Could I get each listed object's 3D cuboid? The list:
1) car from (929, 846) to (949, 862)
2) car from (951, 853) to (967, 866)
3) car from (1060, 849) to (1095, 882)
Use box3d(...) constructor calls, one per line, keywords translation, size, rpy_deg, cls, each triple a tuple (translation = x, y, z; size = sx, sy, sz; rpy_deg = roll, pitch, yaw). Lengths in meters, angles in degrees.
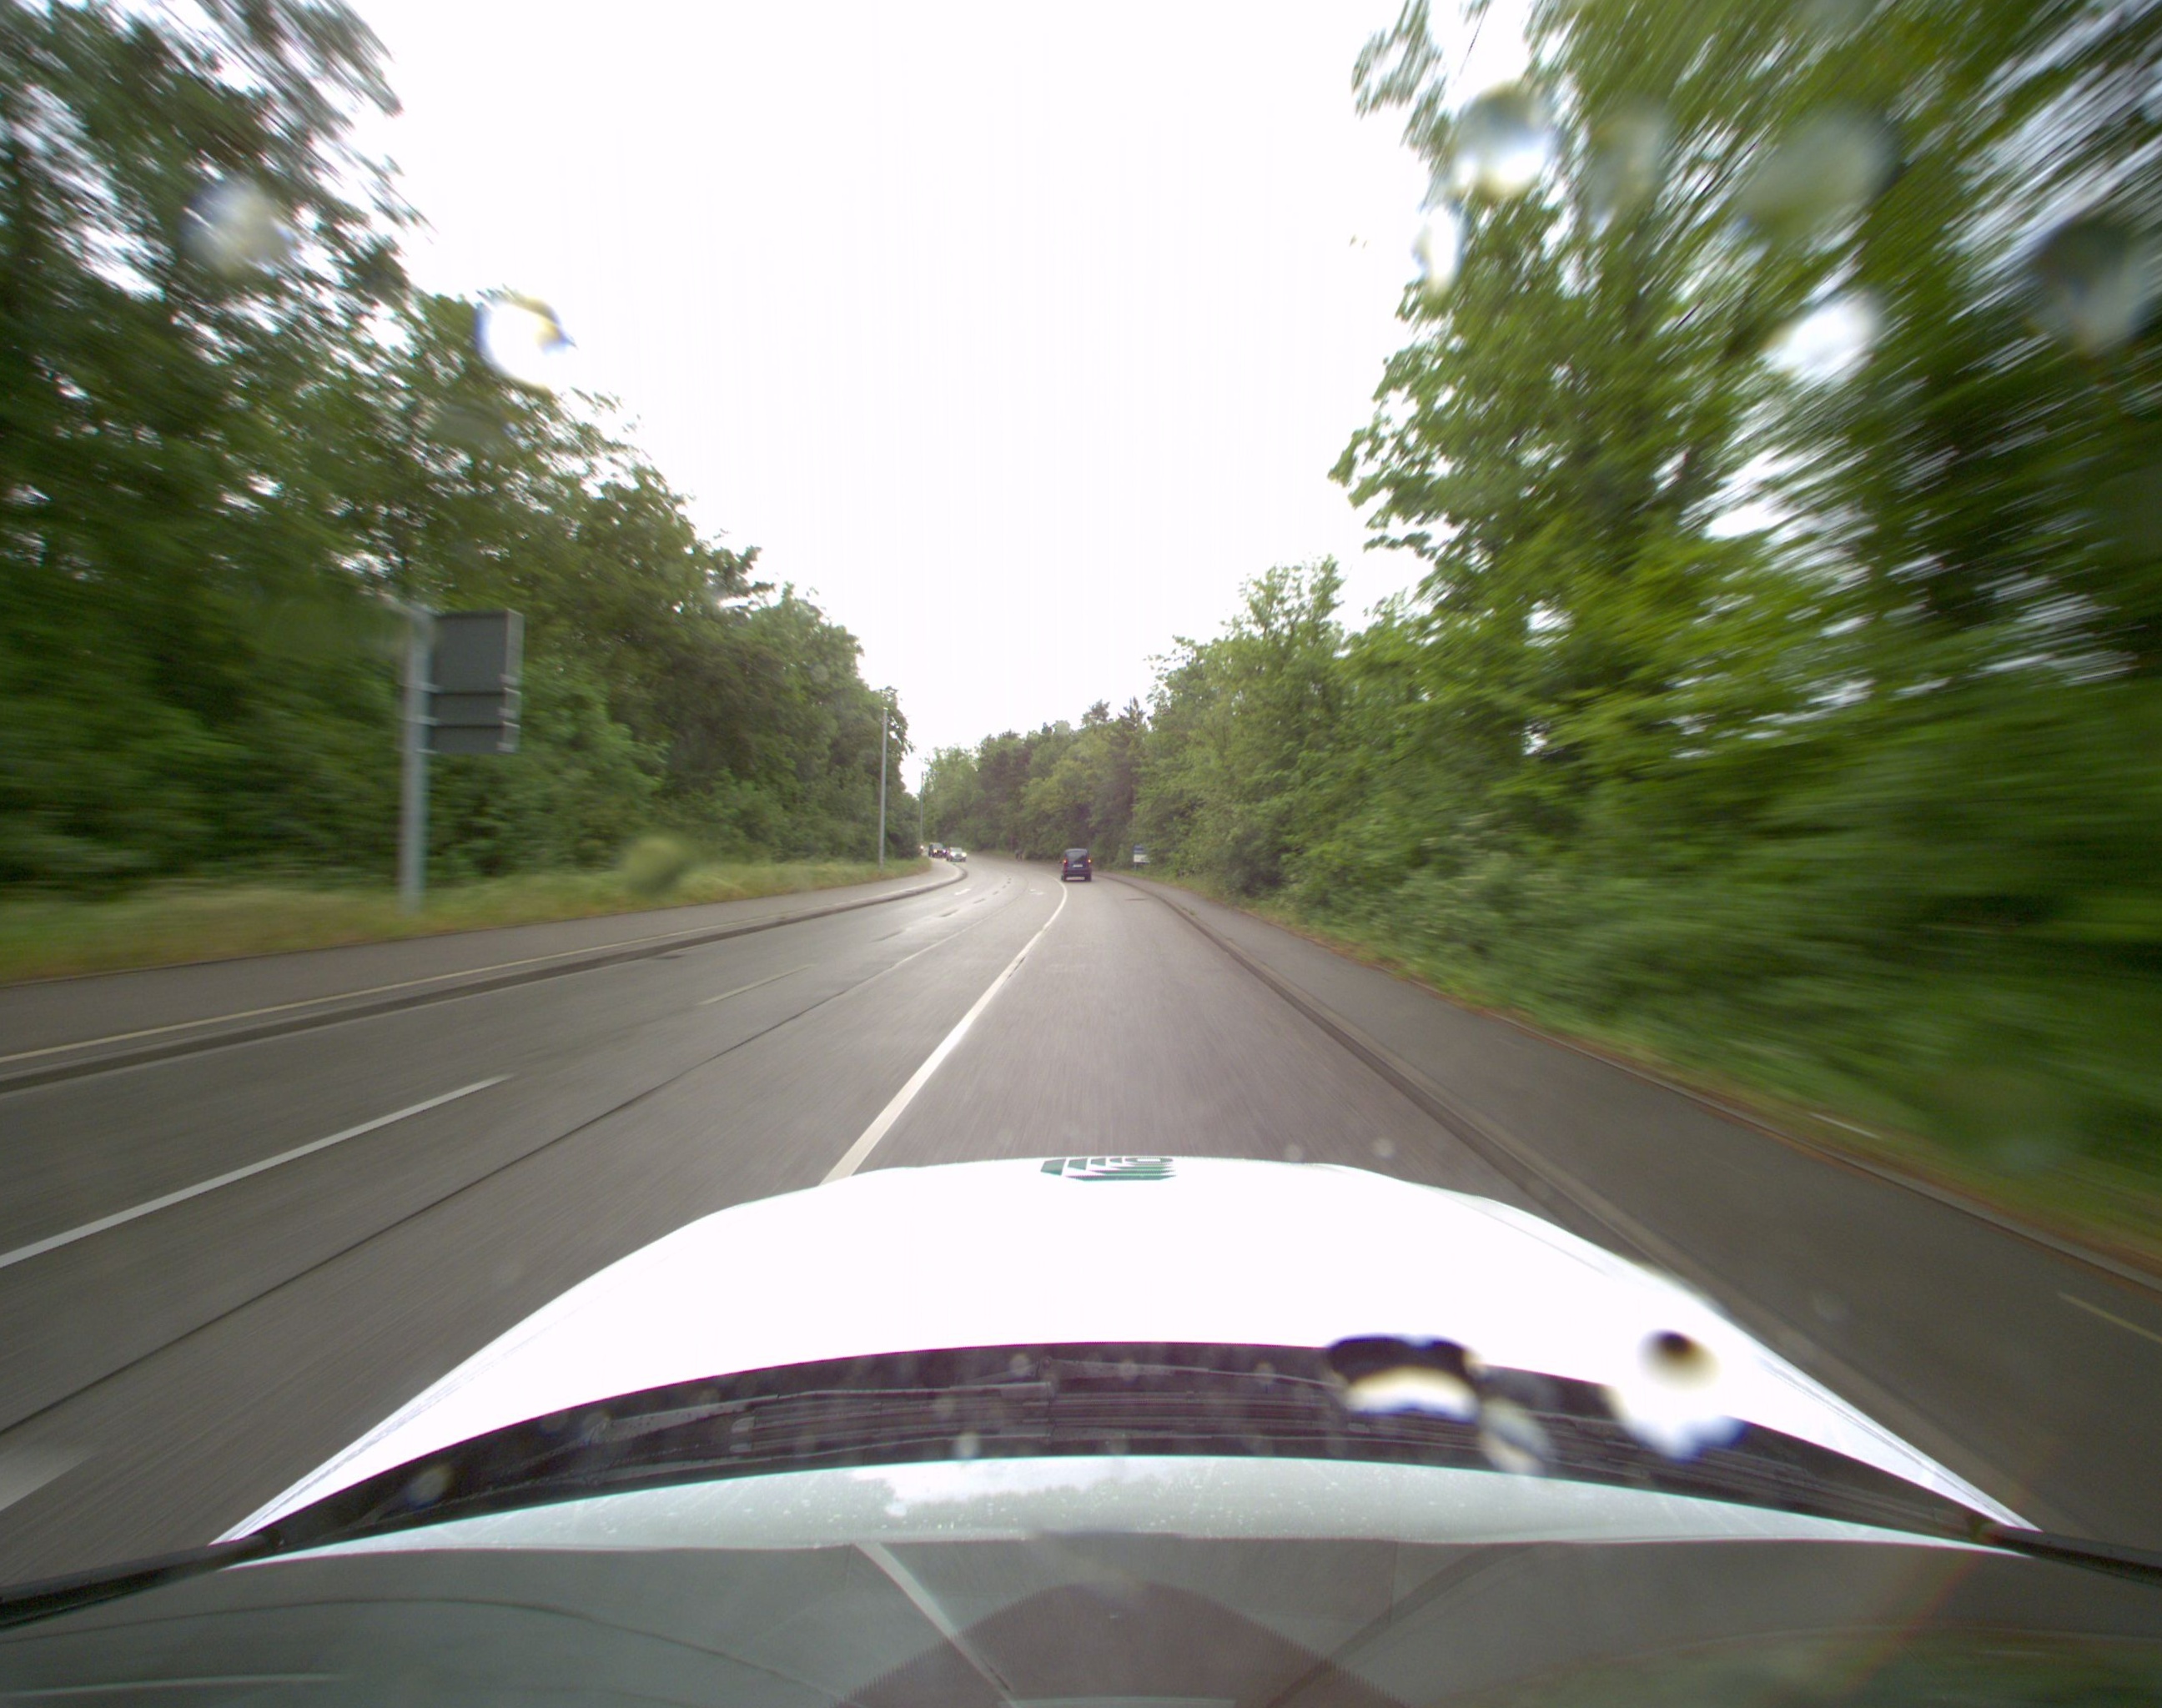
box3d(translation=(-19.812, 0.048, 113.491), size=(1.833, 1.844, 4.677), rpy_deg=(0, -5, -20), cls="car")
box3d(translation=(-15.073, 0.638, 100.676), size=(1.808, 1.595, 4.503), rpy_deg=(0, 0, -10), cls="car")
box3d(translation=(-0.246, 0.624, 47.538), size=(1.823, 1.794, 3.995), rpy_deg=(-1, 0, -4), cls="car")
